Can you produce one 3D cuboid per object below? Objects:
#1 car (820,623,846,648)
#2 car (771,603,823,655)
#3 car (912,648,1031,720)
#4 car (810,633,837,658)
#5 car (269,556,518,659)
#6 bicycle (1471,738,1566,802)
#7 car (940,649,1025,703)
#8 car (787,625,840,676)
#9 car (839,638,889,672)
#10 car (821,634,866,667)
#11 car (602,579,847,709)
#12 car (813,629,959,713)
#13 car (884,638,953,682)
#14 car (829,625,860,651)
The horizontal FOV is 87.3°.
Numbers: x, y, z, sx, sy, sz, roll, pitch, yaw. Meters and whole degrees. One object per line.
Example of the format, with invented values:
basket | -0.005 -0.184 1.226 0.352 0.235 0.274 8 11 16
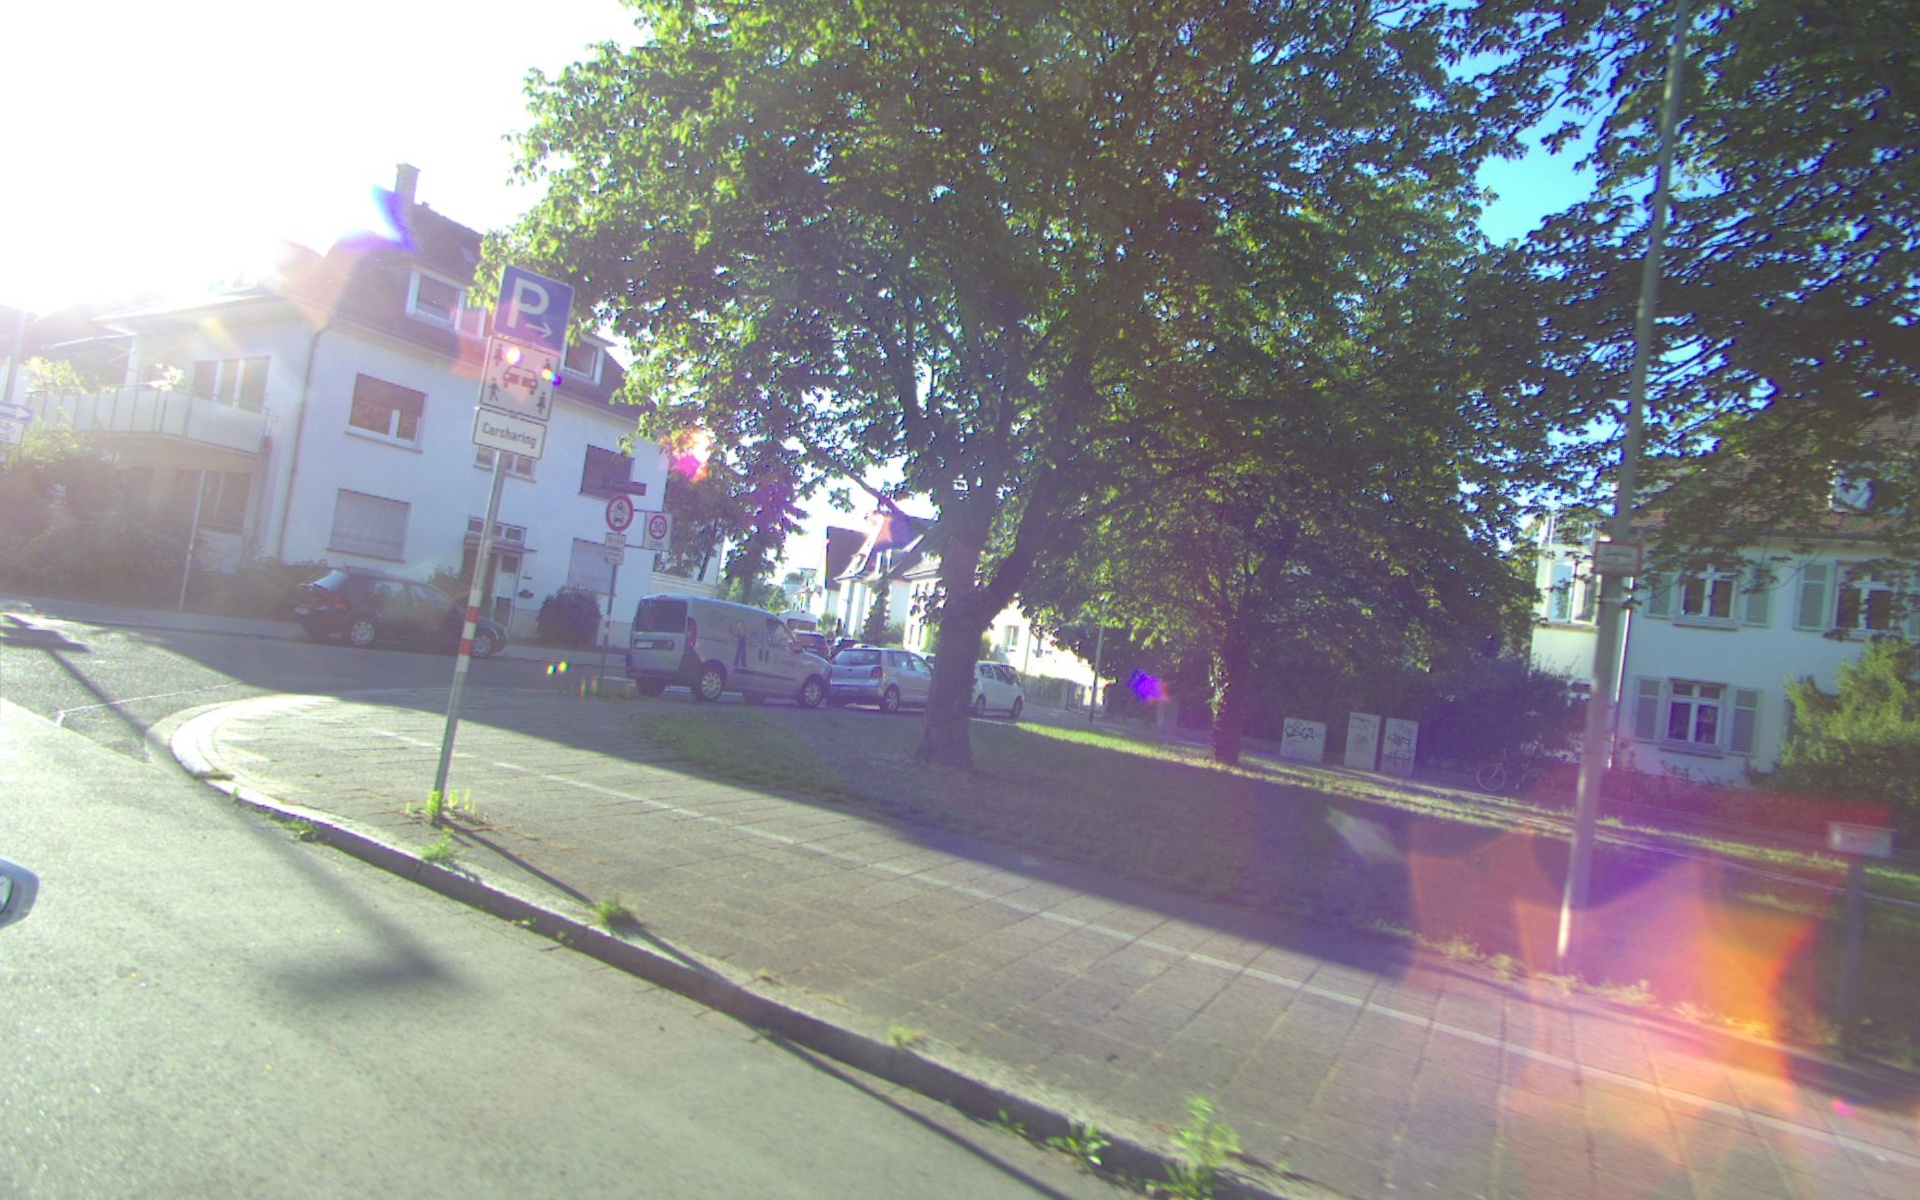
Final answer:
car | -12.625 3.541 99.896 1.969 2.033 3.997 10 -5 -12
car | -8.788 1.606 54.009 2.081 2.360 4.515 10 -5 -13
car | 0.398 2.327 27.386 1.497 1.539 3.937 5 -5 27
car | -11.073 3.692 81.245 1.614 1.687 3.630 10 -5 -12
car | -11.406 0.209 20.543 1.688 1.462 3.998 6 -4 32
bicycle | 13.938 4.227 25.144 1.922 1.252 0.450 7 -2 32
car | 0.807 2.901 39.009 1.971 1.569 3.988 9 -3 -16
car | -6.991 2.406 47.624 1.969 2.033 3.998 10 -5 -11
car | -6.055 3.439 63.263 1.974 1.738 3.817 10 -5 -20
car | -7.940 3.401 68.420 1.905 1.873 3.988 10 -6 -20
car | -4.377 0.930 19.384 1.997 1.894 4.254 6 -5 32
car | -1.606 1.678 23.092 1.577 1.532 3.566 6 -4 27
car | -2.018 2.814 47.907 1.973 1.587 4.093 9 -3 -19
car | -10.740 3.580 93.306 1.971 2.033 3.995 10 -5 -15
